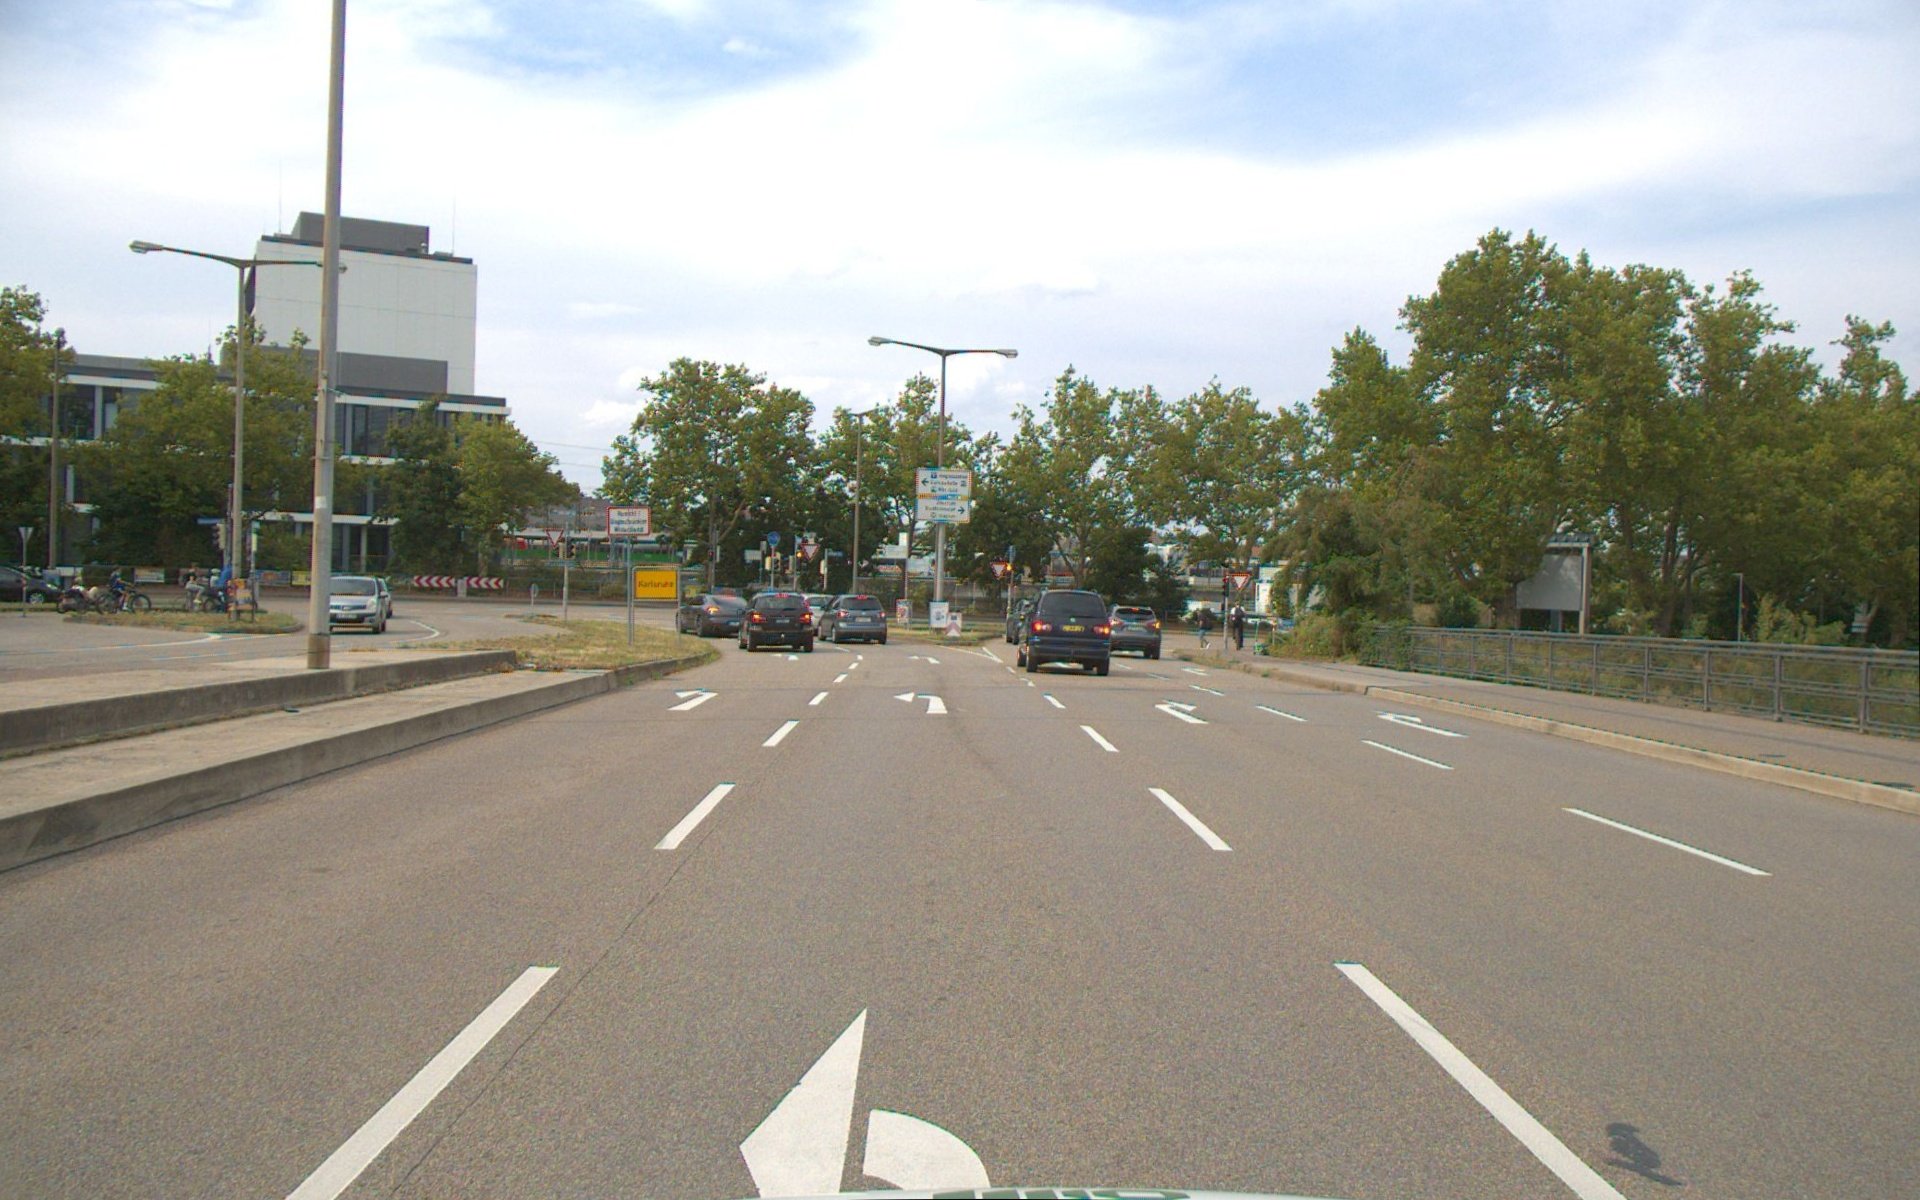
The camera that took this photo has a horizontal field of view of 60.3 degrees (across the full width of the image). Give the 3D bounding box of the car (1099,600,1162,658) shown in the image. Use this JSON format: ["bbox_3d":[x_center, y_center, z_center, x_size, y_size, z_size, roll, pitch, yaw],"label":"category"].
[{"bbox_3d":[5.377,0.927,52.596,1.714,1.671,4.139,3,-1,3],"label":"car"}]

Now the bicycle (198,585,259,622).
[{"bbox_3d":[-25.395,0.115,57.418,1.878,1.231,0.637,1,0,-27],"label":"bicycle"}]

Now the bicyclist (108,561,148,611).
[{"bbox_3d":[-26.823,-0.446,53.320,1.010,1.566,0.619,1,0,-40],"label":"bicyclist"}]

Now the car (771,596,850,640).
[{"bbox_3d":[-5.485,0.626,60.245,1.718,1.508,4.052,1,0,-23],"label":"car"}]

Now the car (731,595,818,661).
[{"bbox_3d":[-5.128,0.733,45.264,1.728,1.602,4.020,2,1,-16],"label":"car"}]

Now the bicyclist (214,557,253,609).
[{"bbox_3d":[-23.934,-0.556,54.492,0.794,1.685,0.881,1,0,32],"label":"bicyclist"}]

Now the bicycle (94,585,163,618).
[{"bbox_3d":[-26.823,0.062,53.343,1.889,1.031,0.619,1,0,-40],"label":"bicycle"}]

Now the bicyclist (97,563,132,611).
[{"bbox_3d":[-27.559,-0.424,53.898,0.835,1.556,0.618,1,0,-45],"label":"bicyclist"}]

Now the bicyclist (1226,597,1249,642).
[{"bbox_3d":[10.802,0.753,64.410,0.793,1.726,1.116,1,0,13],"label":"bicyclist"}]

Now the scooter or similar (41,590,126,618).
[{"bbox_3d":[-28.860,0.143,54.483,0.793,0.864,2.376,2,1,37],"label":"scooter or similar"}]

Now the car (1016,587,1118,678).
[{"bbox_3d":[2.244,0.687,35.643,1.715,1.755,4.136,3,-1,-2],"label":"car"}]

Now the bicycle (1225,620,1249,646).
[{"bbox_3d":[10.794,1.281,64.370,0.791,0.969,2.237,1,0,12],"label":"bicycle"}]

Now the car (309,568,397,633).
[{"bbox_3d":[-16.562,0.037,45.284,1.712,1.688,4.065,0,-1,-13],"label":"car"}]

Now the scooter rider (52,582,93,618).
[{"bbox_3d":[-29.074,-0.006,54.199,0.793,1.157,0.913,2,0,38],"label":"scooter rider"}]

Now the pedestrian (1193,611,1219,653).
[{"bbox_3d":[10.436,1.345,70.205,1.025,1.740,0.854,2,0,10],"label":"pedestrian"}]

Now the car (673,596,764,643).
[{"bbox_3d":[-8.208,0.633,55.880,1.795,1.439,4.740,2,0,-24],"label":"car"}]

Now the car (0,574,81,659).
[{"bbox_3d":[-17.345,0.274,29.165,1.773,1.440,4.025,1,-1,-5],"label":"car"}]

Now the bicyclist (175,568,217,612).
[{"bbox_3d":[-25.725,-0.332,55.683,0.636,1.461,1.111,2,1,41],"label":"bicyclist"}]

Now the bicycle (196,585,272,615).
[{"bbox_3d":[-23.914,0.012,54.543,0.794,0.969,2.229,1,0,32],"label":"bicycle"}]

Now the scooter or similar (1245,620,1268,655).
[{"bbox_3d":[10.280,1.295,57.435,0.389,1.204,1.278,1,-1,-8],"label":"scooter or similar"}]

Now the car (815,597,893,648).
[{"bbox_3d":[-3.490,0.695,53.743,1.712,1.573,4.064,1,0,-16],"label":"car"}]

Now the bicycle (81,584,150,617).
[{"bbox_3d":[-27.541,0.009,53.934,0.618,1.031,1.893,2,1,45],"label":"bicycle"}]

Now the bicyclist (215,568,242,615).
[{"bbox_3d":[-25.389,-0.300,57.400,0.770,1.608,0.649,1,0,-27],"label":"bicyclist"}]

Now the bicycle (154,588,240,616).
[{"bbox_3d":[-25.683,0.063,55.725,0.692,0.905,2.577,2,1,41],"label":"bicycle"}]

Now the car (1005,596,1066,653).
[{"bbox_3d":[2.331,0.771,51.977,1.656,1.613,4.156,3,-1,0],"label":"car"}]
